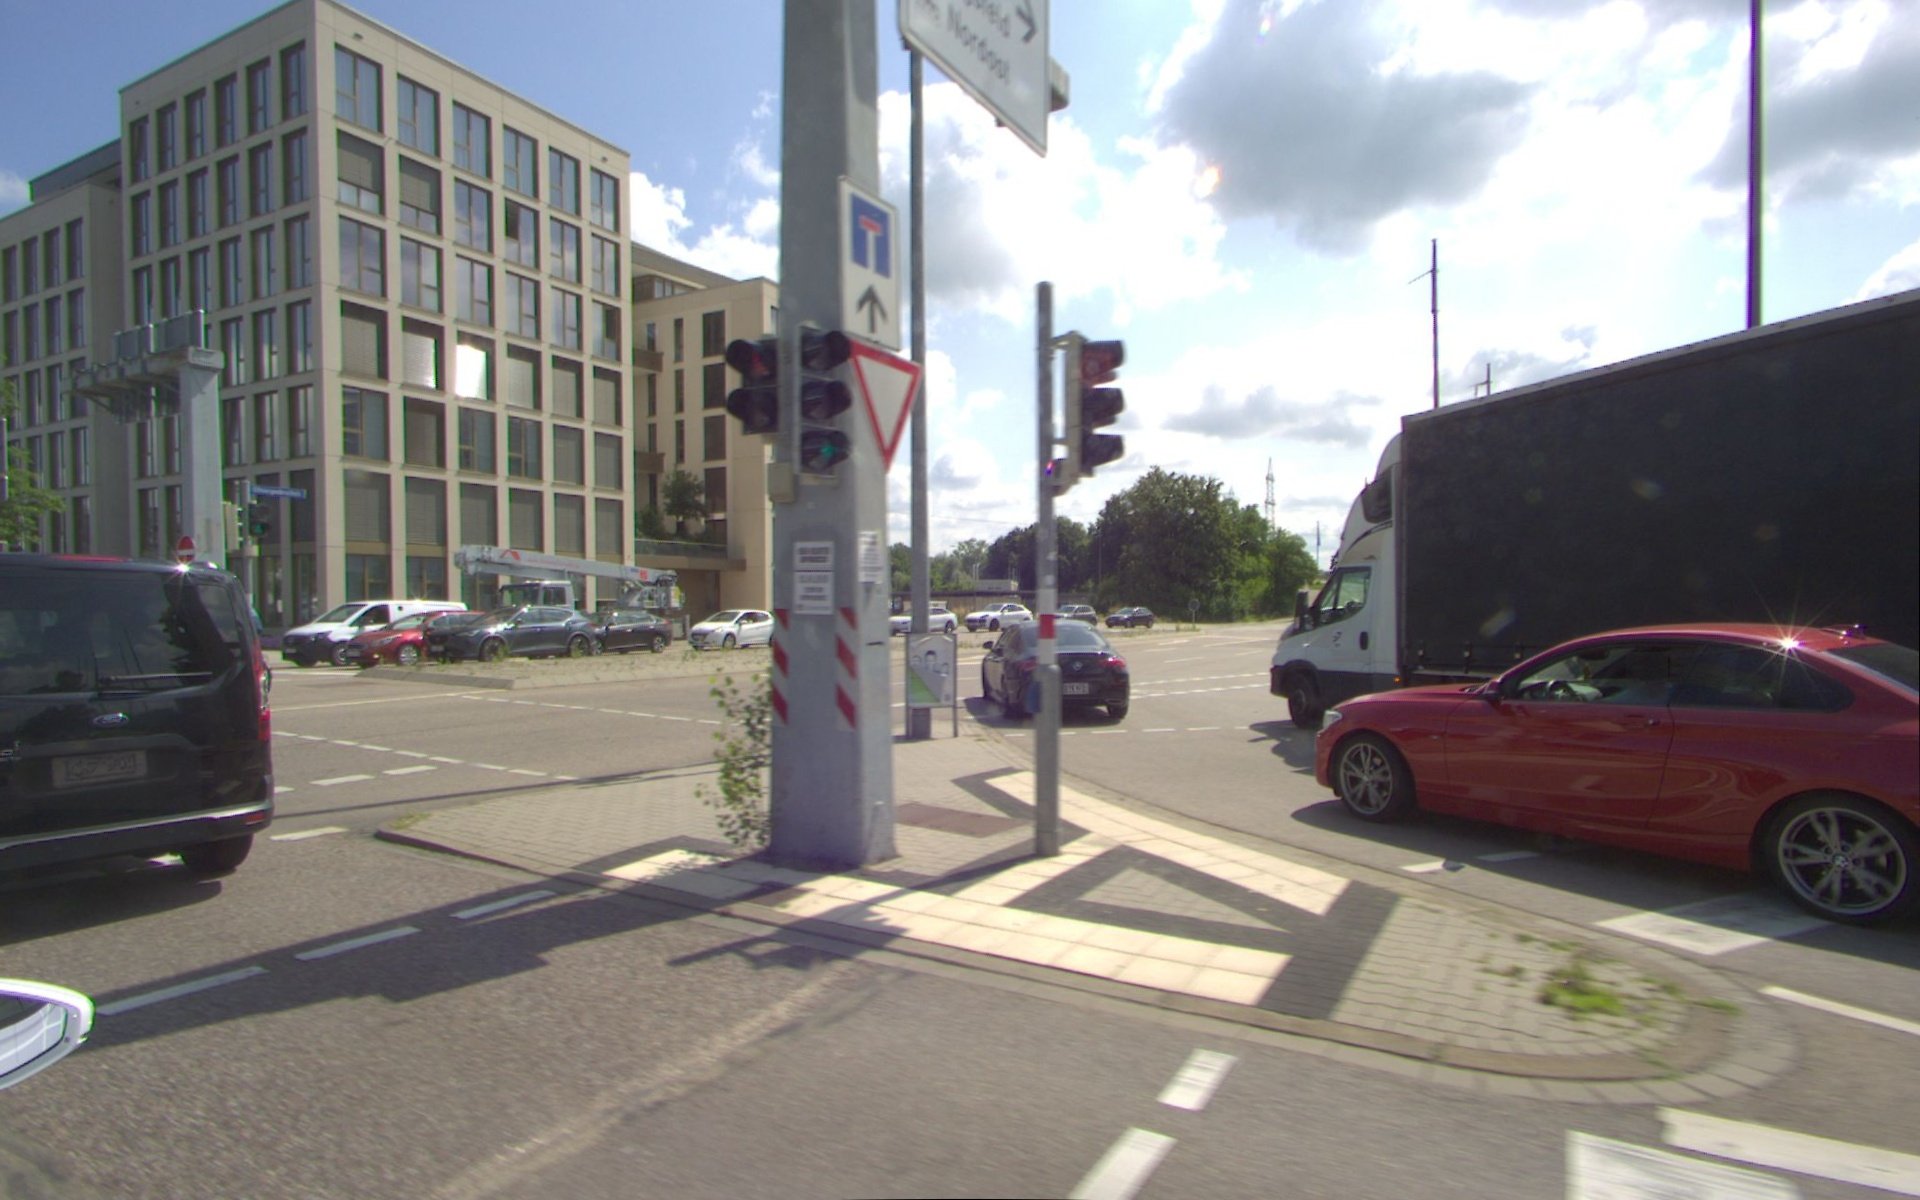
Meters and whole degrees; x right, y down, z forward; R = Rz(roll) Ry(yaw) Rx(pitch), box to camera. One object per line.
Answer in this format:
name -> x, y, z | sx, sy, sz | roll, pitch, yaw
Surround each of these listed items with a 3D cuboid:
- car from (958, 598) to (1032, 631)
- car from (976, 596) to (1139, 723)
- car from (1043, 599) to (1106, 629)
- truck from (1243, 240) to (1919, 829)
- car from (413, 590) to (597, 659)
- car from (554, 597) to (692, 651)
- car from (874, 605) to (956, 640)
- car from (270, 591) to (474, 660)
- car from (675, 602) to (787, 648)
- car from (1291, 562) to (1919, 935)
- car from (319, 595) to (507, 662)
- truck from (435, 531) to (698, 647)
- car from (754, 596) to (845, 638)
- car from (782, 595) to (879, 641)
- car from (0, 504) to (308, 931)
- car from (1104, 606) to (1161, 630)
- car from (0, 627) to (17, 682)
car -> 2.135, 0.892, 59.845 | 1.809, 1.861, 4.674 | -2, -2, 43
car -> 1.365, 0.875, 15.667 | 1.829, 1.676, 4.220 | 2, -2, -4
car -> 7.518, 0.945, 65.517 | 1.809, 1.861, 4.407 | -2, -2, 43
truck -> 7.057, -0.336, 10.262 | 3.169, 4.078, 9.049 | 0, -2, -21
car -> -11.652, 0.661, 25.940 | 1.798, 1.647, 4.199 | -1, -2, 25
car -> -11.075, 0.816, 33.191 | 1.802, 1.647, 4.192 | -1, -2, 31
car -> -2.412, 1.249, 54.541 | 1.806, 1.861, 4.692 | -2, -2, 39
car -> -17.209, 0.782, 29.615 | 1.968, 1.861, 4.978 | -1, -2, 25
car -> -8.556, 0.973, 37.732 | 1.801, 1.647, 4.195 | -1, -2, 29
car -> 4.366, 0.735, 6.249 | 1.839, 1.676, 4.198 | 0, -2, -30
car -> -14.492, 0.774, 26.804 | 1.798, 1.647, 4.199 | -1, -2, 25
truck -> -13.734, -0.177, 36.237 | 2.632, 3.600, 9.754 | -1, -2, 25
car -> -7.475, 0.851, 46.996 | 1.801, 1.861, 4.426 | -1, -2, 31
car -> -5.504, 0.818, 43.162 | 1.801, 1.861, 4.426 | -1, -2, 31
car -> -5.800, 0.569, 5.910 | 3.943, 1.929, 1.820 | -1, -1, 32
car -> 12.195, 1.294, 70.585 | 1.809, 1.634, 4.407 | -2, -2, 43
car -> -37.153, 2.001, 36.211 | 1.967, 2.039, 3.989 | -1, -2, 24
